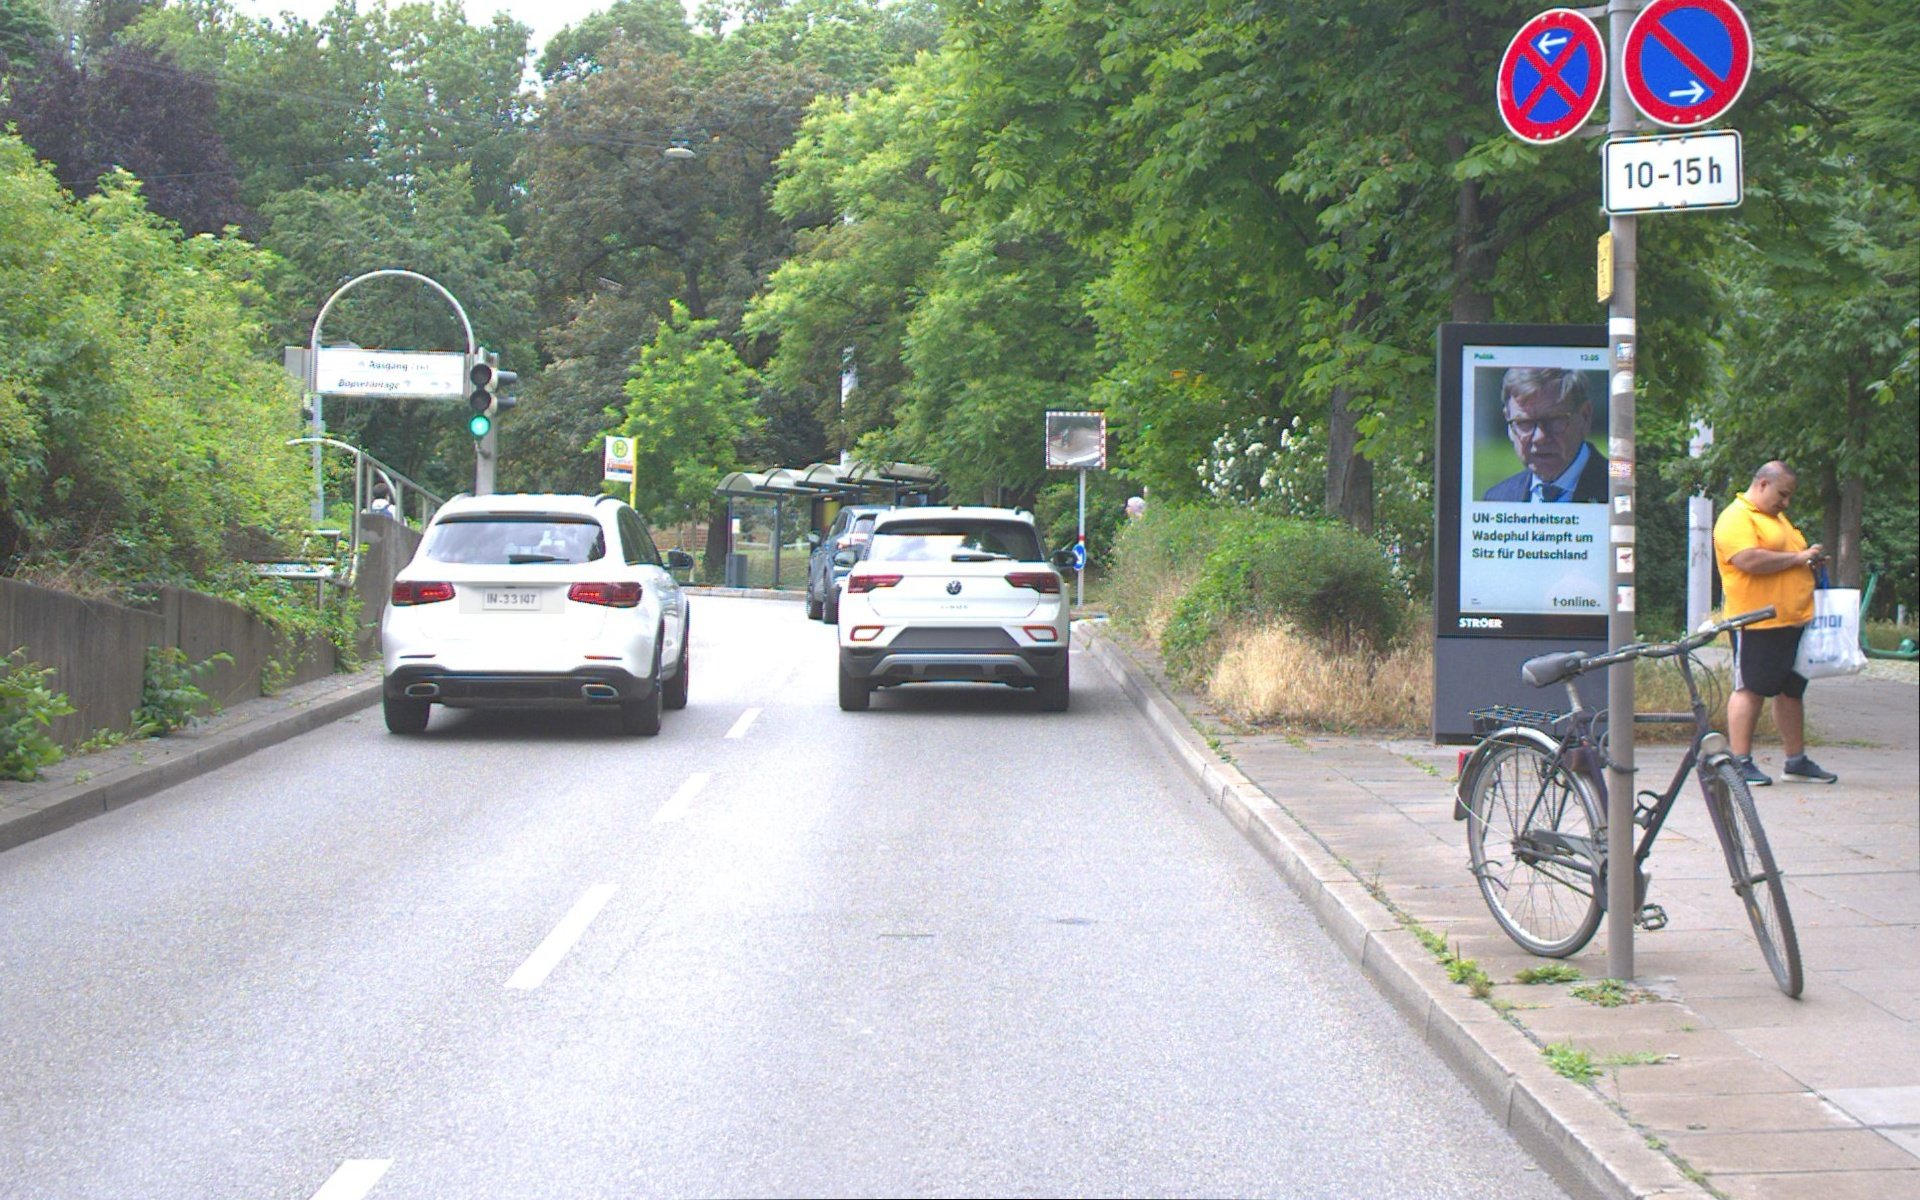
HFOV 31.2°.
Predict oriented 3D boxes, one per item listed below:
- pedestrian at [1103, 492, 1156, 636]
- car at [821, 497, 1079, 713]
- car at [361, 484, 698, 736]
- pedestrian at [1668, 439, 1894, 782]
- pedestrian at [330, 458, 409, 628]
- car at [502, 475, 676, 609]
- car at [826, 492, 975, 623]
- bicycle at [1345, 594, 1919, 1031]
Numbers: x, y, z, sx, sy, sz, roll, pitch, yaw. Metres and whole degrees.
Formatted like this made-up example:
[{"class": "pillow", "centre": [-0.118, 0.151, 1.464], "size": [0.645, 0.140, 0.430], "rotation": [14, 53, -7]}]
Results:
[{"class": "pedestrian", "centre": [2.029, -0.434, 41.147], "size": [0.615, 1.706, 0.727], "rotation": [0, 1, 4]}, {"class": "car", "centre": [-0.049, 0.005, 27.225], "size": [1.865, 1.551, 3.894], "rotation": [1, 1, 1]}, {"class": "car", "centre": [-2.982, 0.025, 24.657], "size": [1.877, 1.646, 4.342], "rotation": [0, 1, 0]}, {"class": "pedestrian", "centre": [4.190, 0.043, 17.578], "size": [0.832, 1.706, 0.822], "rotation": [-1, 1, -14]}, {"class": "pedestrian", "centre": [-6.543, -0.637, 38.138], "size": [0.705, 1.854, 0.614], "rotation": [1, 1, 6]}, {"class": "car", "centre": [-5.641, -0.895, 51.914], "size": [1.993, 1.875, 4.001], "rotation": [2, 1, -14]}, {"class": "car", "centre": [-0.760, -0.567, 45.588], "size": [1.861, 1.626, 3.959], "rotation": [1, 1, 0]}, {"class": "bicycle", "centre": [2.011, 0.580, 10.474], "size": [0.638, 1.139, 2.066], "rotation": [-4, 2, -25]}]
